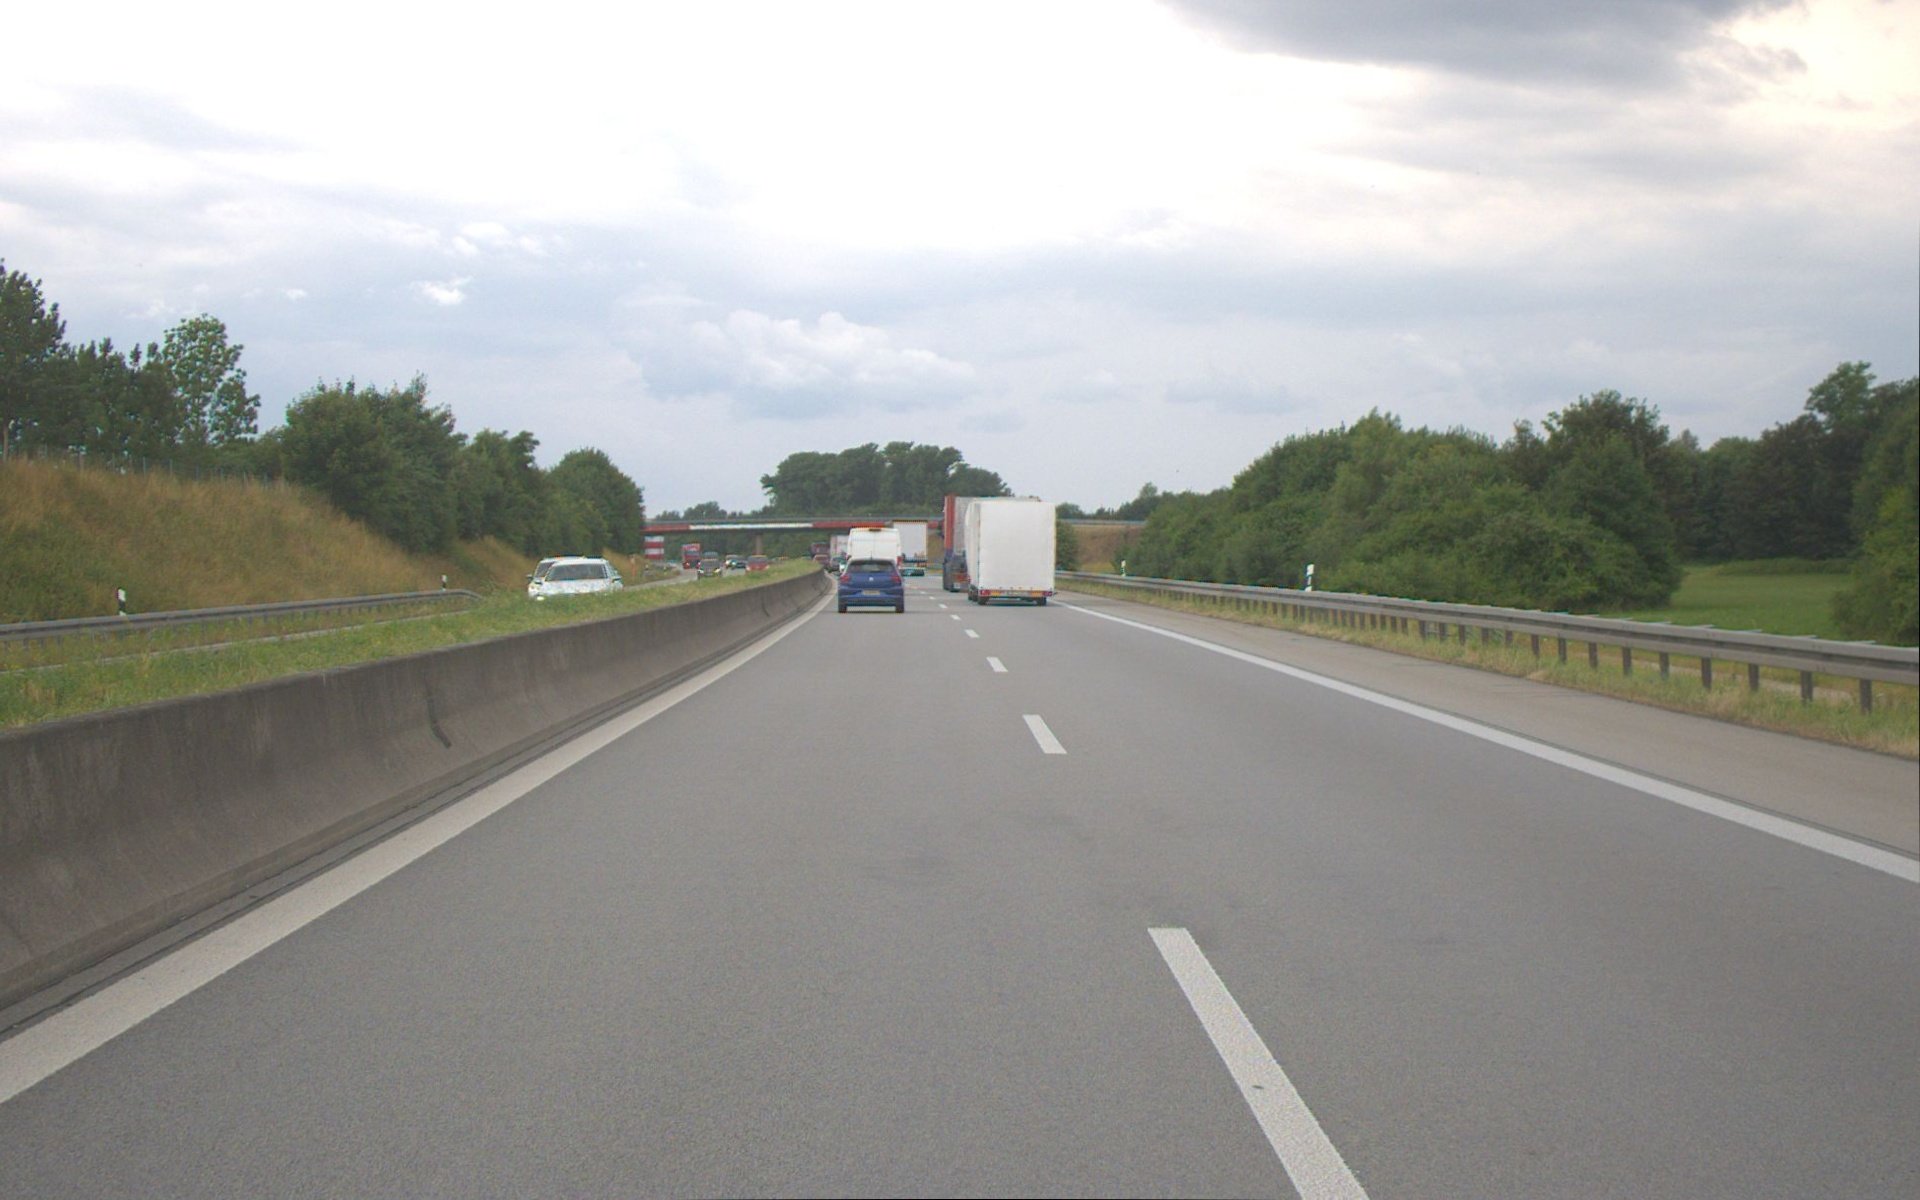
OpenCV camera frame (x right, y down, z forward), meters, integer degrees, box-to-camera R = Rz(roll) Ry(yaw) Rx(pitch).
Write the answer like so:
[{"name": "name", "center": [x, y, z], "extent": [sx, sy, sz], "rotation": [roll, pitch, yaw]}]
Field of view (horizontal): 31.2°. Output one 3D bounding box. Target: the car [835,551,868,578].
[{"name": "car", "center": [-6.686, -2.181, 211.805], "extent": [1.935, 1.638, 4.903], "rotation": [0, 1, -1]}]

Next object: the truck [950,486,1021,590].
[{"name": "truck", "center": [0.990, -2.557, 140.394], "extent": [2.673, 4.032, 11.108], "rotation": [-1, 1, 0]}]

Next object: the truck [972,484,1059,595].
[{"name": "truck", "center": [1.614, -1.779, 103.240], "extent": [2.415, 3.211, 7.144], "rotation": [0, 1, -1]}]

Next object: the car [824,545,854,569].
[{"name": "car", "center": [-8.544, -3.040, 242.935], "extent": [1.993, 1.678, 4.001], "rotation": [0, 1, -4]}]

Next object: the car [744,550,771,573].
[{"name": "car", "center": [-14.731, -2.782, 250.233], "extent": [1.845, 1.566, 4.361], "rotation": [-2, 1, -2]}]

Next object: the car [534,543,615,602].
[{"name": "car", "center": [-10.898, -0.795, 97.426], "extent": [1.865, 1.569, 4.694], "rotation": [-2, 1, -2]}]

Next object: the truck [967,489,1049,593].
[{"name": "truck", "center": [1.507, -1.859, 110.430], "extent": [2.429, 3.232, 7.247], "rotation": [0, 1, -1]}]

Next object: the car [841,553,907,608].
[{"name": "car", "center": [-2.228, -0.521, 89.294], "extent": [1.663, 1.402, 3.649], "rotation": [0, 1, -1]}]

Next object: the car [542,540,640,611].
[{"name": "car", "center": [-8.764, -0.605, 81.984], "extent": [1.865, 1.569, 4.990], "rotation": [-2, 1, -1]}]

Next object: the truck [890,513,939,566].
[{"name": "truck", "center": [-3.372, -4.401, 252.477], "extent": [3.110, 3.677, 9.324], "rotation": [-2, 1, -3]}]

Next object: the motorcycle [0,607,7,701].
[{"name": "motorcycle", "center": [-11.880, 0.667, 38.516], "extent": [1.566, 1.074, 2.982], "rotation": [-2, 1, -1]}]

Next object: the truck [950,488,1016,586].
[{"name": "truck", "center": [0.938, -2.667, 145.797], "extent": [2.673, 4.032, 5.513], "rotation": [-1, 1, 0]}]

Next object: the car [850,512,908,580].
[{"name": "car", "center": [-3.038, -1.986, 128.301], "extent": [2.130, 2.474, 5.840], "rotation": [0, 1, -2]}]
